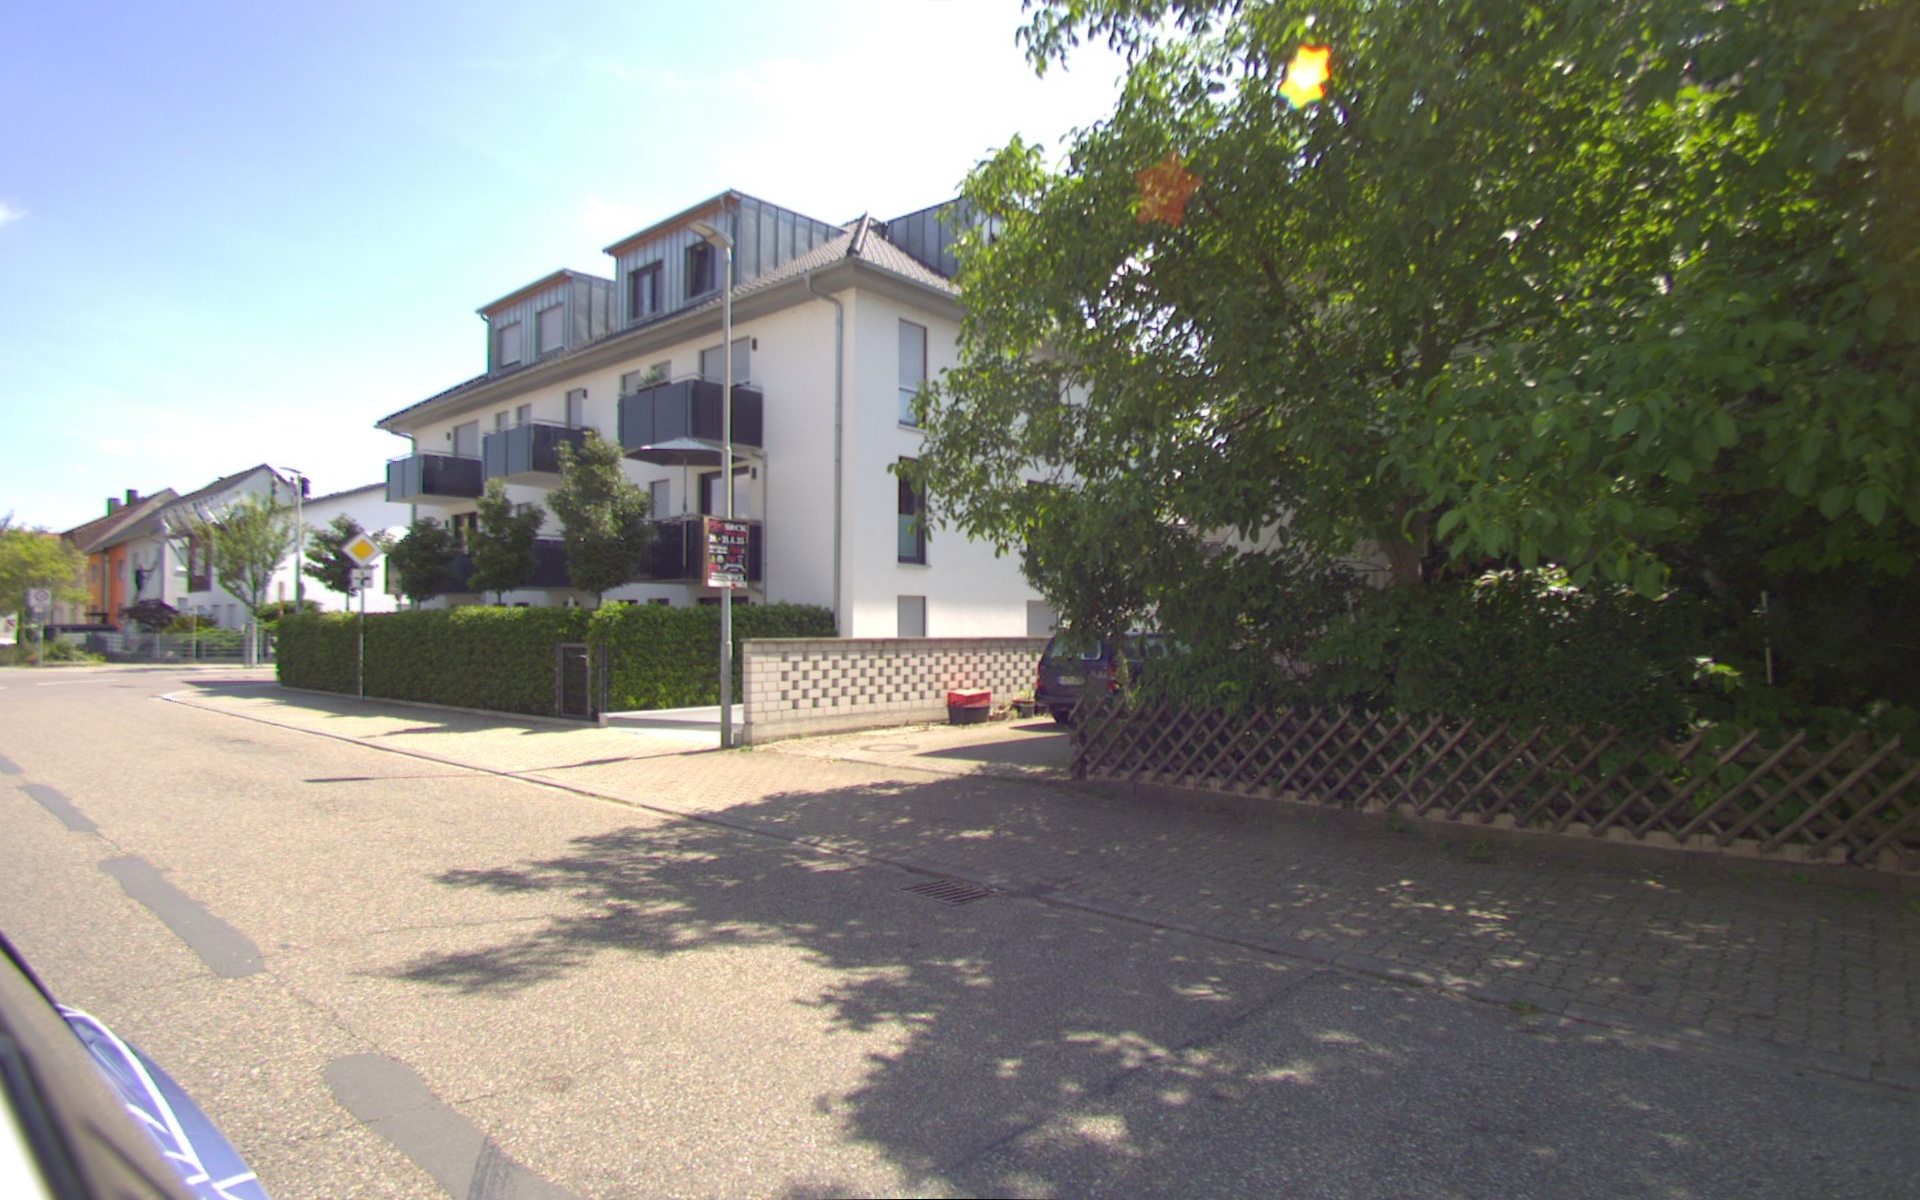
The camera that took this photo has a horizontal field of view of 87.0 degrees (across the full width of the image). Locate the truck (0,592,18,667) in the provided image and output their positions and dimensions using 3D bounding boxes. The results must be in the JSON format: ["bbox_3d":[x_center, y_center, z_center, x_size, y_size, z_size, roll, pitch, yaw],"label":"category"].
[{"bbox_3d":[-44.940,1.289,45.670,7.029,3.271,2.413,-2,-6,39],"label":"truck"}]

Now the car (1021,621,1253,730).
[{"bbox_3d":[2.896,1.144,16.099,1.794,1.503,3.869,-3,-4,43],"label":"car"}]
